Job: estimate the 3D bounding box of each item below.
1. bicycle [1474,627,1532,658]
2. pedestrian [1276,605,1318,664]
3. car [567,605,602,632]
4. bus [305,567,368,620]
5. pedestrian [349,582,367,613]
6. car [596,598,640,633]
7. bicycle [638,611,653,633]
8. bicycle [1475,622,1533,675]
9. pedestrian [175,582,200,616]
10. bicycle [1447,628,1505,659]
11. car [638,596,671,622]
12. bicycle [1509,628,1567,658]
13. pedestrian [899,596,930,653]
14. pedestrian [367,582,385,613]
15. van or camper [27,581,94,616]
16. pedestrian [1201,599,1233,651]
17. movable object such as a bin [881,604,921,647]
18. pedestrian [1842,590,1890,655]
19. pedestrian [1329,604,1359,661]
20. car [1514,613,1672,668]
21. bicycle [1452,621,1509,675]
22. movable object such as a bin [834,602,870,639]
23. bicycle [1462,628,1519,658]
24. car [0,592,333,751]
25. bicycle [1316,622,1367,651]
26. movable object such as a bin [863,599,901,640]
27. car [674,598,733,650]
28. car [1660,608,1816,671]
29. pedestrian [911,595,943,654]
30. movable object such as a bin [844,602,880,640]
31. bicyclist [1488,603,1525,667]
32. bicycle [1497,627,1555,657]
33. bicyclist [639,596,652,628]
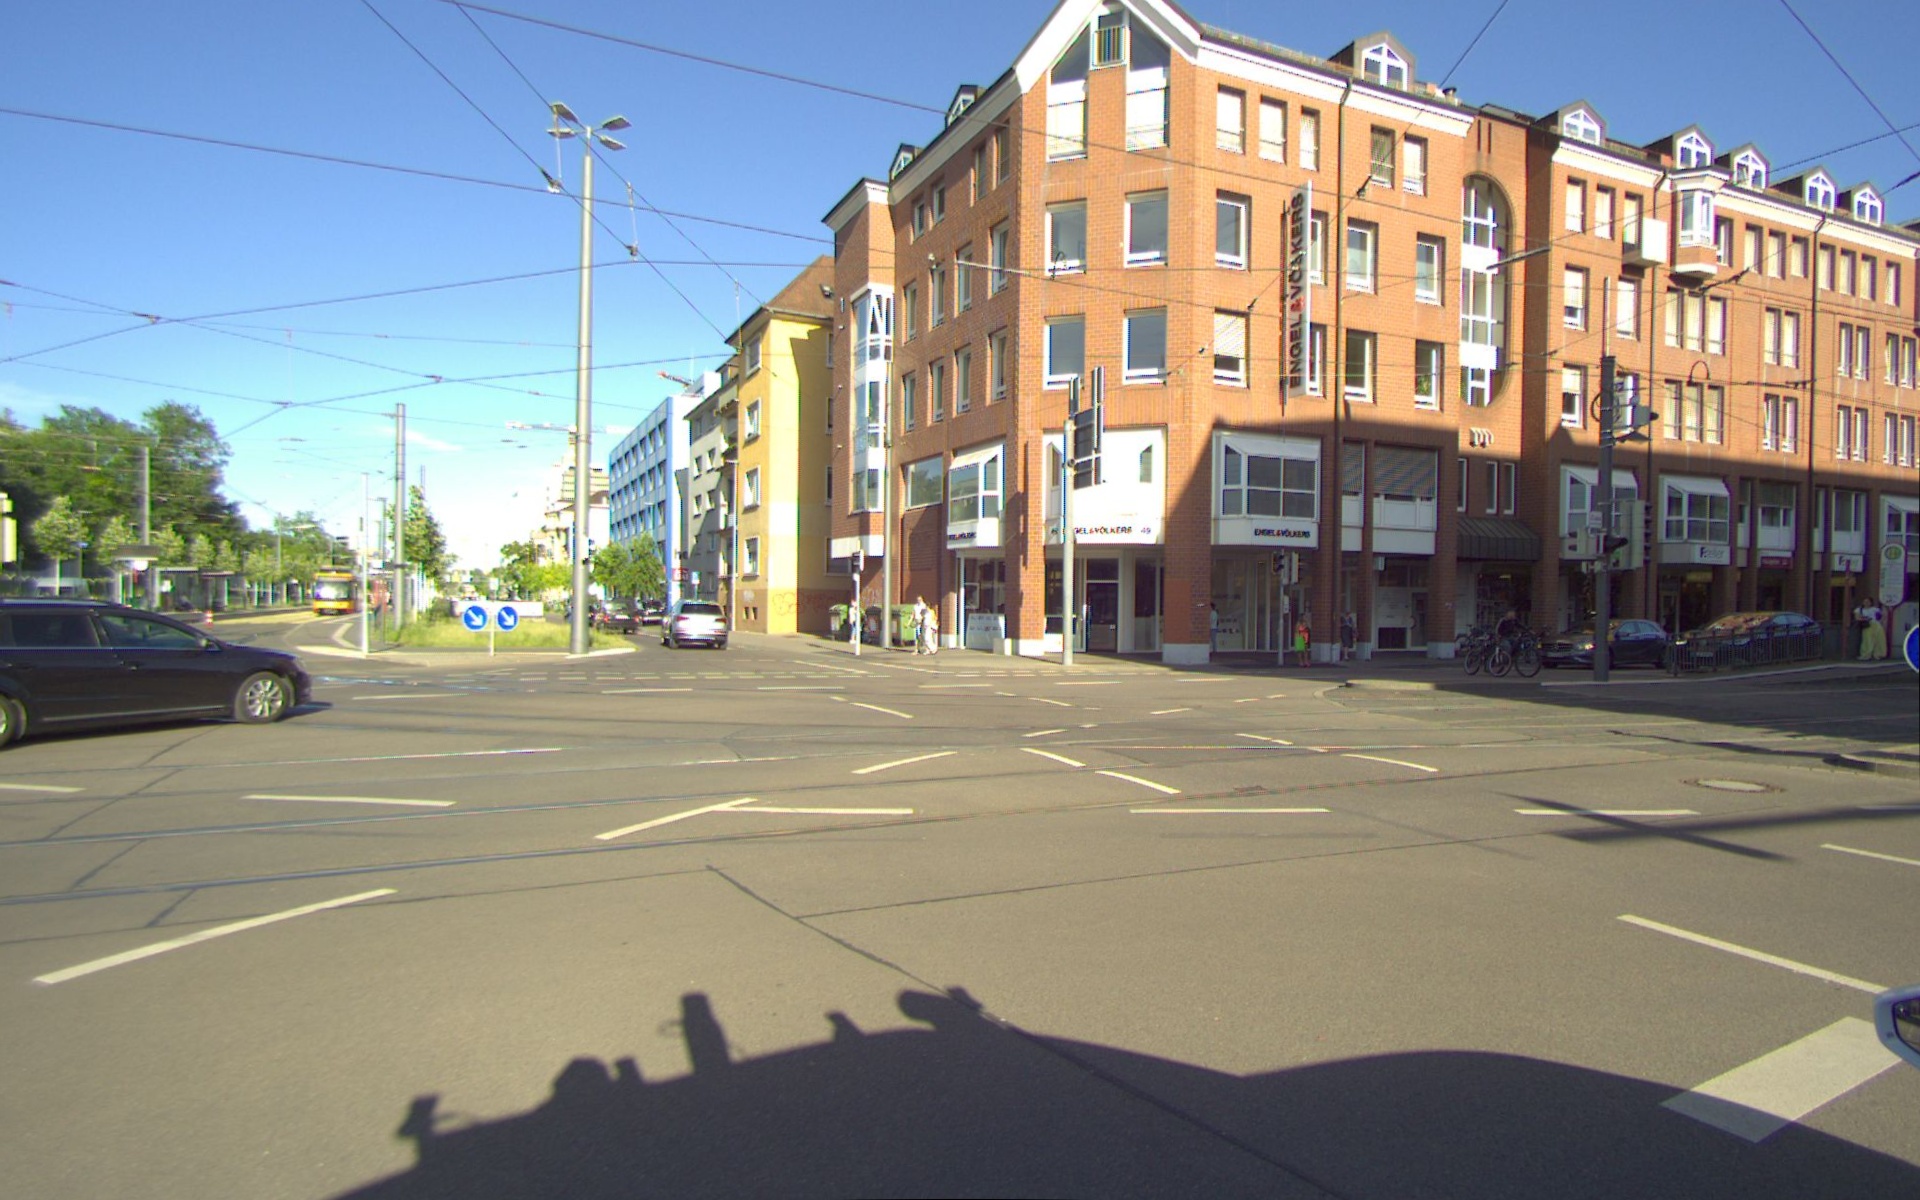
[{"bbox_3d":[17.848,1.390,33.046,0.514,0.912,1.706,1,1,-24],"label":"bicycle"},{"bbox_3d":[9.659,0.986,28.815,0.766,1.616,0.710,1,4,-23],"label":"pedestrian"},{"bbox_3d":[-23.977,1.151,64.047,1.708,1.572,3.449,1,1,-27],"label":"car"},{"bbox_3d":[-44.832,-0.508,72.432,2.913,3.611,9.364,1,1,-26],"label":"bus"},{"bbox_3d":[-39.657,-0.160,66.169,0.915,2.037,1.001,0,1,-36],"label":"pedestrian"},{"bbox_3d":[-17.029,0.737,49.910,1.558,1.639,3.756,1,1,-27],"label":"car"},{"bbox_3d":[-18.497,1.281,59.087,0.620,1.239,2.028,1,1,-24],"label":"bicycle"},{"bbox_3d":[13.070,1.144,24.176,0.482,1.173,1.682,1,1,2],"label":"bicycle"},{"bbox_3d":[-47.093,-0.078,61.237,0.881,2.037,0.922,1,1,-12],"label":"pedestrian"},{"bbox_3d":[16.674,1.384,32.505,0.514,0.912,1.706,1,1,-24],"label":"bicycle"},{"bbox_3d":[-20.248,0.602,66.540,1.543,1.639,3.295,1,1,-27],"label":"car"},{"bbox_3d":[19.414,1.418,33.795,0.514,0.912,1.706,1,1,-24],"label":"bicycle"},{"bbox_3d":[-1.421,0.758,31.201,0.703,1.750,0.685,0,1,-29],"label":"pedestrian"},{"bbox_3d":[-38.854,-0.183,66.801,0.915,2.037,1.001,0,1,-36],"label":"pedestrian"},{"bbox_3d":[-54.576,-0.131,61.031,1.955,2.028,4.325,1,1,-27],"label":"van or camper"},{"bbox_3d":[8.107,0.789,31.704,0.846,1.589,0.887,1,1,8],"label":"pedestrian"},{"bbox_3d":[-2.063,0.886,35.102,1.083,1.456,0.991,1,1,-30],"label":"movable object such as a bin"},{"bbox_3d":[22.631,0.561,25.100,0.575,1.585,0.636,1,1,-10],"label":"pedestrian"},{"bbox_3d":[11.701,0.974,30.602,0.544,1.693,0.618,1,1,-26],"label":"pedestrian"},{"bbox_3d":[18.105,1.136,28.764,3.916,1.473,1.815,1,-1,-19],"label":"car"},{"bbox_3d":[12.497,1.133,24.166,0.482,1.173,1.716,1,1,2],"label":"bicycle"},{"bbox_3d":[-4.316,0.807,40.111,1.083,1.456,0.991,1,1,-30],"label":"movable object such as a bin"},{"bbox_3d":[17.298,1.390,32.784,0.514,0.912,1.706,1,1,-24],"label":"bicycle"},{"bbox_3d":[-9.392,0.656,10.623,1.736,1.463,4.526,1,1,22],"label":"car"},{"bbox_3d":[13.104,1.251,34.528,0.578,0.912,1.755,1,1,-24],"label":"bicycle"},{"bbox_3d":[-2.891,0.717,37.117,1.083,1.456,0.991,1,1,-30],"label":"movable object such as a bin"},{"bbox_3d":[-8.793,0.783,34.279,1.815,1.657,3.473,1,1,-16],"label":"car"},{"bbox_3d":[20.635,1.021,26.642,3.741,1.564,1.812,1,-1,-26],"label":"car"},{"bbox_3d":[-1.008,0.730,30.549,0.703,1.750,0.685,0,1,-29],"label":"pedestrian"},{"bbox_3d":[-3.817,0.808,39.212,1.083,1.456,0.991,1,1,-30],"label":"movable object such as a bin"},{"bbox_3d":[13.073,0.829,24.034,0.474,1.490,0.719,1,1,2],"label":"bicyclist"},{"bbox_3d":[18.906,1.403,33.565,0.514,0.912,1.706,1,0,-24],"label":"bicycle"},{"bbox_3d":[-18.441,0.699,58.942,0.606,1.795,0.825,1,1,-24],"label":"bicyclist"}]
